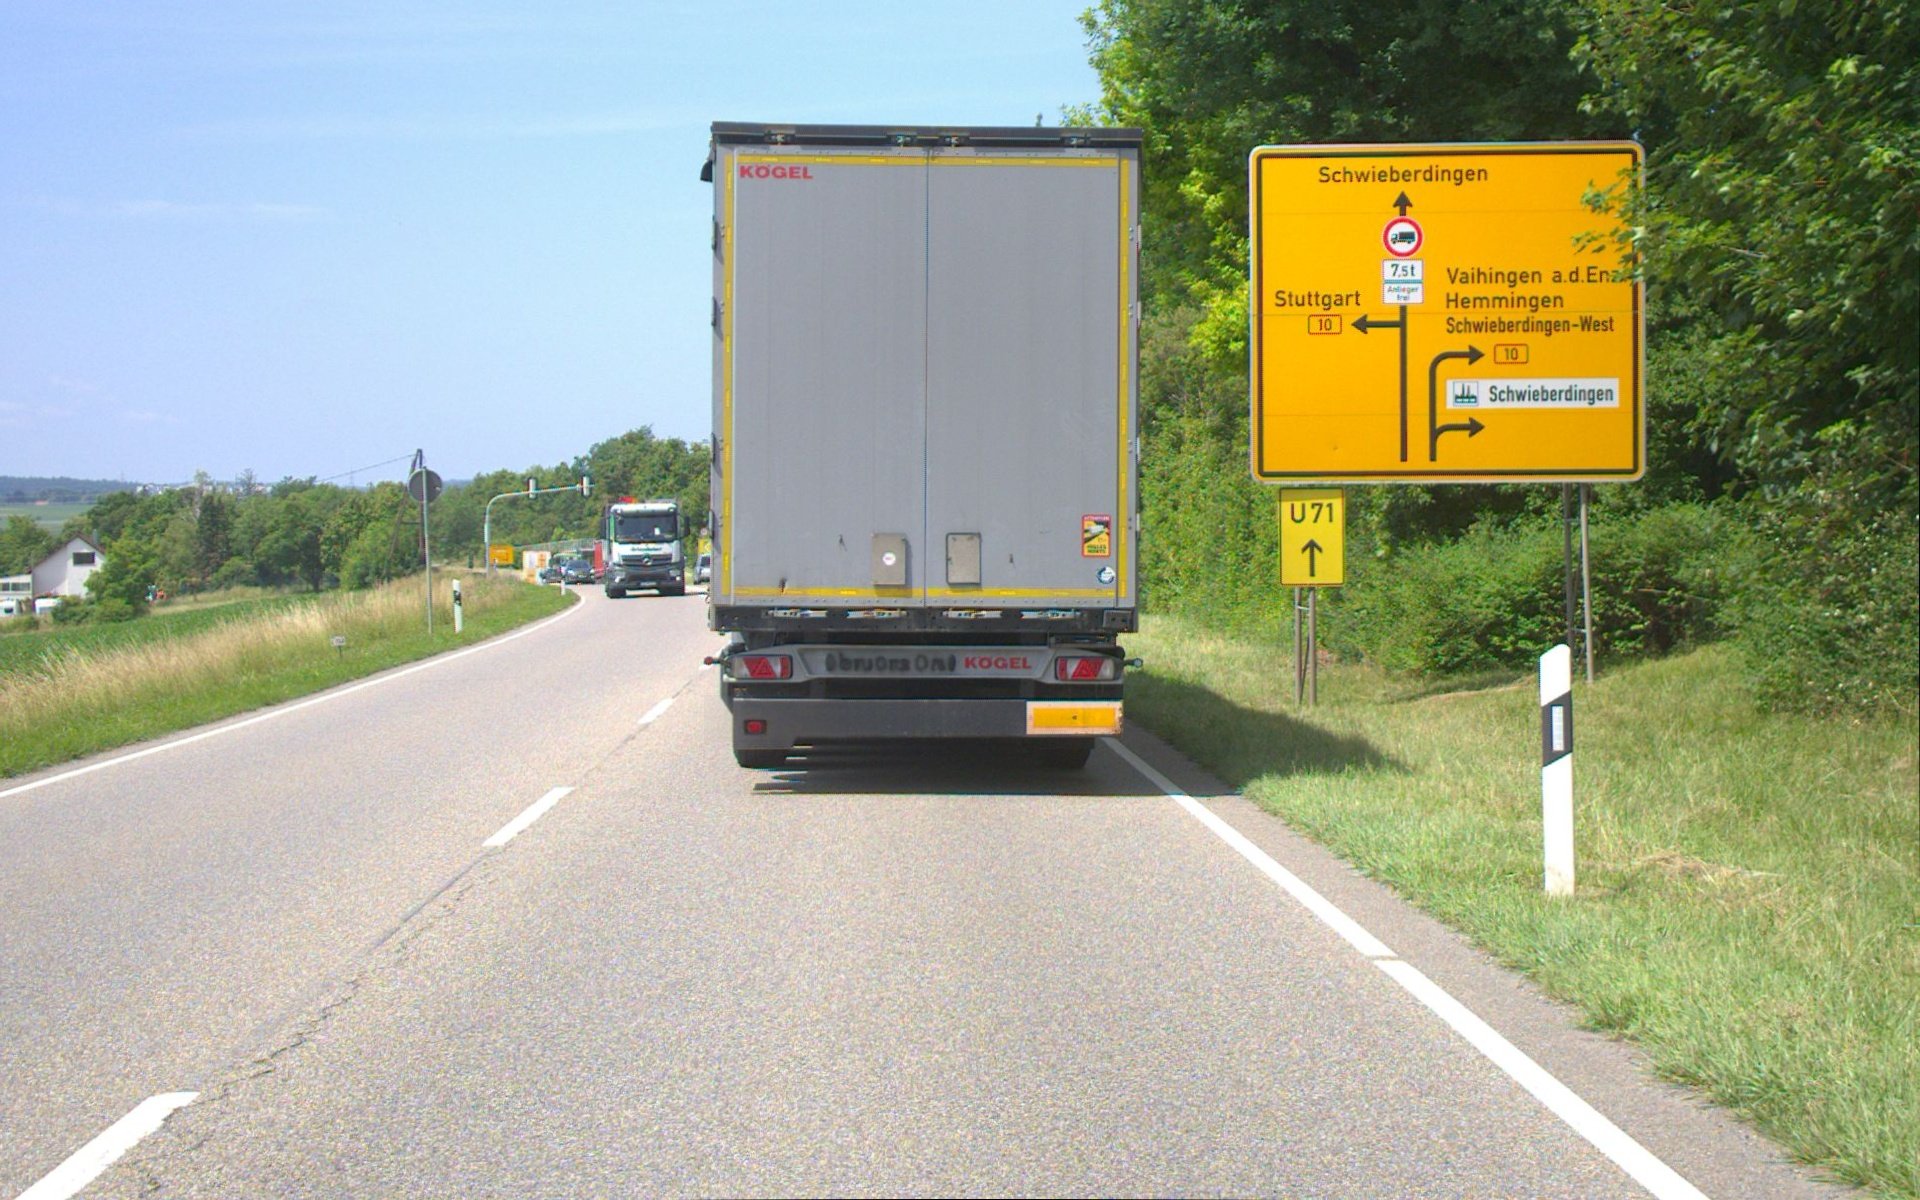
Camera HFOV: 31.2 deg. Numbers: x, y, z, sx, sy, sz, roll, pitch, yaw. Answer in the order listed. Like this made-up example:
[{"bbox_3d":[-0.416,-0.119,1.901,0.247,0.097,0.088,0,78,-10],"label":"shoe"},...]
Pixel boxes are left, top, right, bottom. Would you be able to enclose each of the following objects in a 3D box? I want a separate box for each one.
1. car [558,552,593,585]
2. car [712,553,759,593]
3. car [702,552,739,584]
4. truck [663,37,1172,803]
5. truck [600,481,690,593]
[{"bbox_3d":[-24.017,-1.980,214.478,1.993,1.943,4.504,-3,1,-8],"label":"car"},{"bbox_3d":[-11.865,-1.439,181.642,2.171,2.007,4.527,-3,1,-6],"label":"car"},{"bbox_3d":[-13.712,-1.840,196.716,1.892,1.771,4.387,-3,1,-6],"label":"car"},{"bbox_3d":[-0.527,-1.104,24.291,2.907,4.395,8.861,0,1,-4],"label":"truck"},{"bbox_3d":[-10.779,-2.114,118.593,2.756,3.564,11.067,-3,1,-4],"label":"truck"}]
